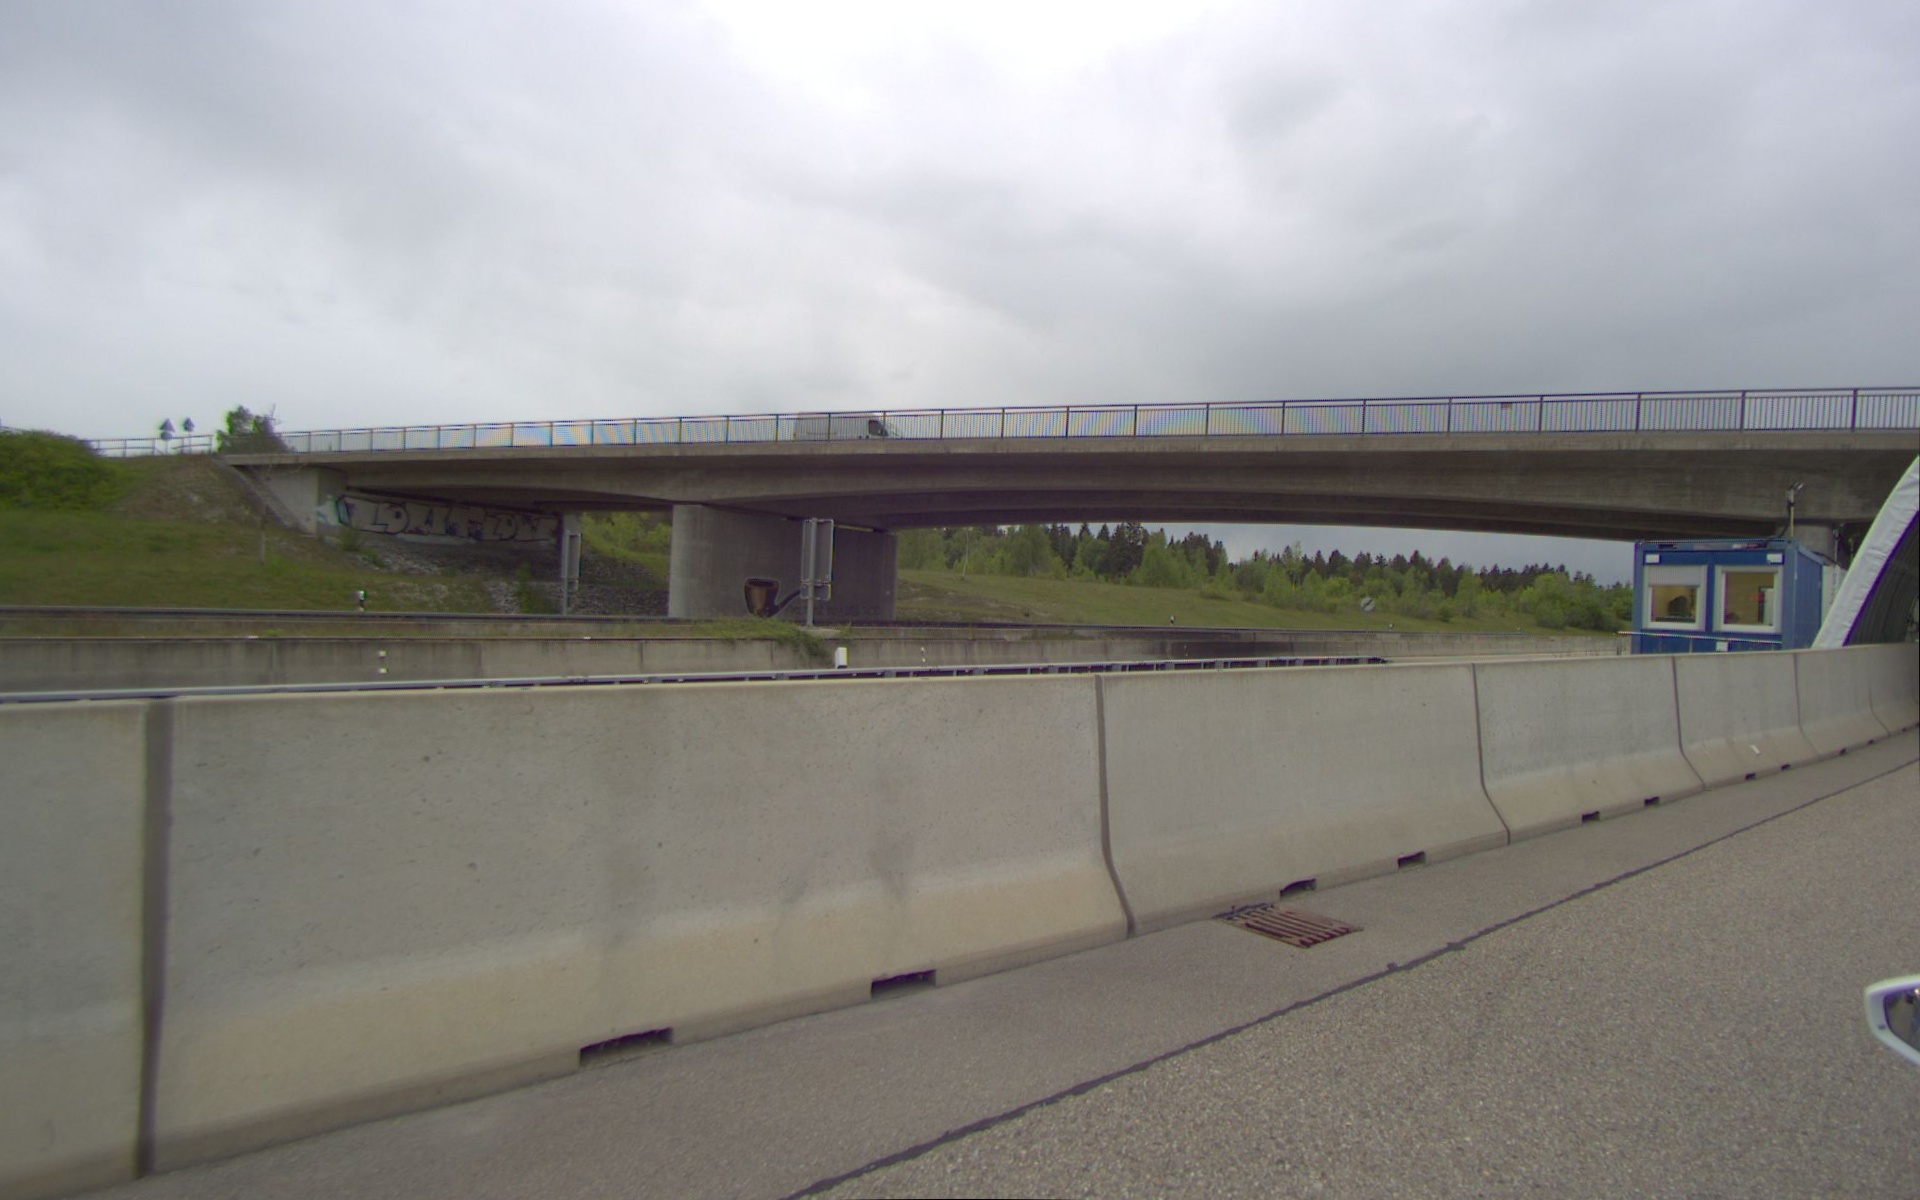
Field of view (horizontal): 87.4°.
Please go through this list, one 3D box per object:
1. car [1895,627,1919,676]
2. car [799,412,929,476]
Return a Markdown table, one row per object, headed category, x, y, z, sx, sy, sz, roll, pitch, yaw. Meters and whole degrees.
| category | x | y | z | sx | sy | sz | roll | pitch | yaw |
| --- | --- | --- | --- | --- | --- | --- | --- | --- | --- |
| car | 38.279 | 1.996 | 37.980 | 1.686 | 1.878 | 3.976 | 2 | -1 | -24 |
| car | -4.388 | -7.048 | 45.844 | 5.643 | 2.281 | 1.999 | 1 | -1 | 24 |
